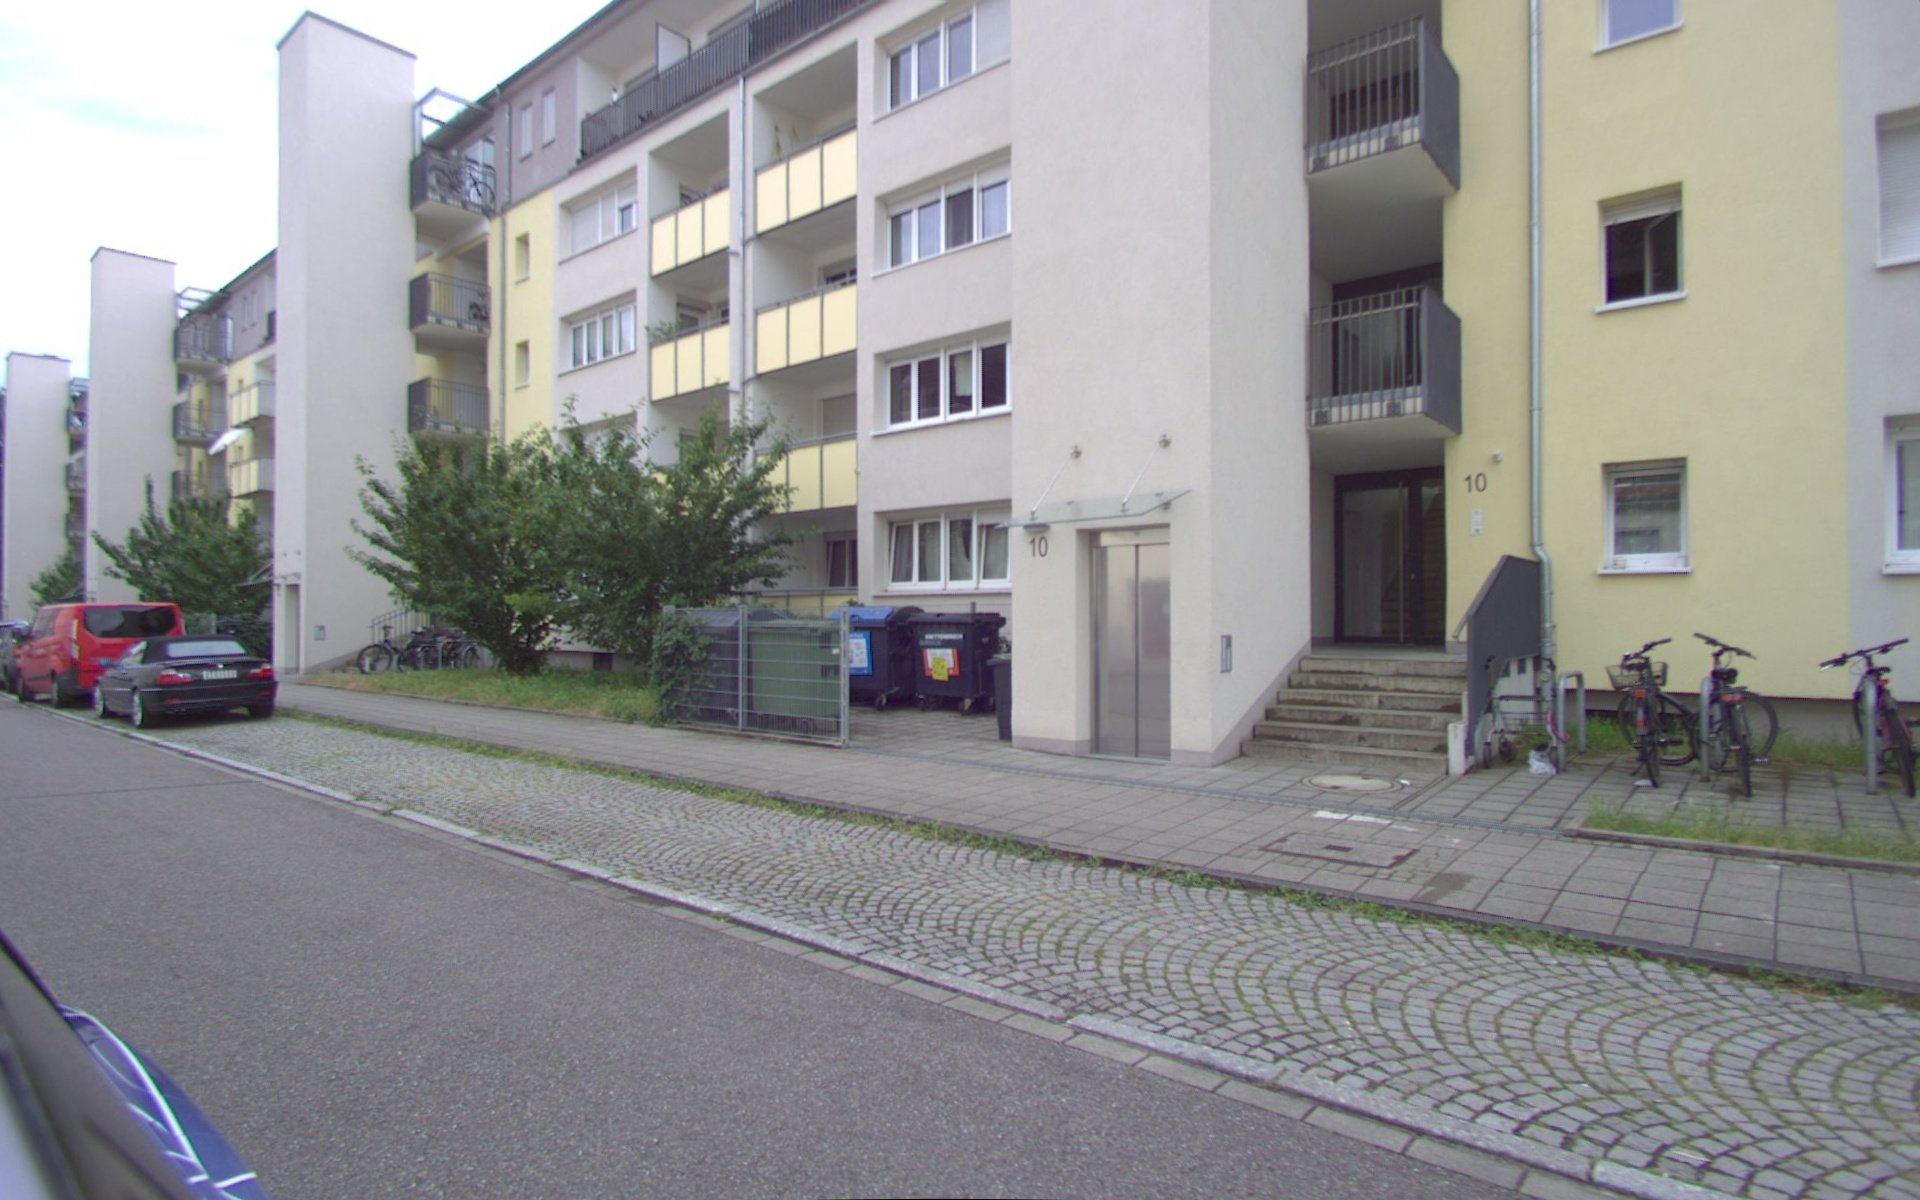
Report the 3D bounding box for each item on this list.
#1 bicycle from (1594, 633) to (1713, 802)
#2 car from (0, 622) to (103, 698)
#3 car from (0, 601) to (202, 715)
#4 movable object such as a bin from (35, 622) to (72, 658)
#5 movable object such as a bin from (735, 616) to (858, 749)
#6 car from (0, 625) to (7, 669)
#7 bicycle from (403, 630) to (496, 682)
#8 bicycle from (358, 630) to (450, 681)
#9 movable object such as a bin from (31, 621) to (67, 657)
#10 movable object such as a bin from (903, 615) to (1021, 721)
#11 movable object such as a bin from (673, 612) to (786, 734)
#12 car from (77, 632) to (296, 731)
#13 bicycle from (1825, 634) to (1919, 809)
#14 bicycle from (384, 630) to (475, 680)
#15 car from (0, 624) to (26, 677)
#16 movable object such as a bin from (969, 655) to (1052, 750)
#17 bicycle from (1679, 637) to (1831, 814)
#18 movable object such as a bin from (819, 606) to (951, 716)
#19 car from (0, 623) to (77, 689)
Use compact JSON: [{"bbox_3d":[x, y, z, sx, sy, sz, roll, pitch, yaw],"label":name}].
[{"bbox_3d":[5.501,0.855,8.116,0.621,1.150,2.008,-1,-1,30],"label":"bicycle"},{"bbox_3d":[-21.623,1.340,23.699,4.051,1.582,1.703,-1,0,40],"label":"car"},{"bbox_3d":[-17.276,1.068,20.256,4.915,1.968,2.131,-1,0,38],"label":"car"},{"bbox_3d":[-38.302,1.672,42.761,1.313,1.458,0.991,-1,-1,41],"label":"movable object such as a bin"},{"bbox_3d":[-1.923,0.913,11.805,1.288,1.440,0.794,-1,-1,44],"label":"movable object such as a bin"},{"bbox_3d":[-33.903,1.614,34.491,3.853,1.449,1.627,-1,0,40],"label":"car"},{"bbox_3d":[-11.692,1.256,23.222,1.813,1.127,0.571,1,-2,-44],"label":"bicycle"},{"bbox_3d":[-13.171,1.287,24.018,0.604,1.127,1.817,-1,-1,38],"label":"bicycle"},{"bbox_3d":[-39.306,1.663,43.649,1.313,1.512,0.991,-1,-1,41],"label":"movable object such as a bin"},{"bbox_3d":[0.021,0.888,13.778,1.287,1.350,0.969,-1,-1,40],"label":"movable object such as a bin"},{"bbox_3d":[-2.902,0.876,12.695,1.288,1.440,0.795,-1,-1,43],"label":"movable object such as a bin"},{"bbox_3d":[-12.544,1.211,16.322,4.357,1.333,1.852,-1,-1,39],"label":"car"},{"bbox_3d":[7.051,0.844,7.642,0.622,1.150,2.004,-1,-2,36],"label":"bicycle"},{"bbox_3d":[-12.469,1.271,23.812,0.570,1.127,1.815,-2,-2,42],"label":"bicycle"},{"bbox_3d":[-29.774,1.536,30.810,3.894,1.542,1.635,-1,0,42],"label":"car"},{"bbox_3d":[0.553,1.097,11.055,0.651,0.972,0.629,-1,-2,40],"label":"movable object such as a bin"},{"bbox_3d":[6.053,0.876,7.806,0.621,1.150,2.008,-1,-1,30],"label":"bicycle"},{"bbox_3d":[-1.082,0.841,14.674,1.370,1.475,1.339,-1,-1,39],"label":"movable object such as a bin"},{"bbox_3d":[-25.380,1.442,27.028,4.855,1.582,1.817,-1,0,38],"label":"car"}]
